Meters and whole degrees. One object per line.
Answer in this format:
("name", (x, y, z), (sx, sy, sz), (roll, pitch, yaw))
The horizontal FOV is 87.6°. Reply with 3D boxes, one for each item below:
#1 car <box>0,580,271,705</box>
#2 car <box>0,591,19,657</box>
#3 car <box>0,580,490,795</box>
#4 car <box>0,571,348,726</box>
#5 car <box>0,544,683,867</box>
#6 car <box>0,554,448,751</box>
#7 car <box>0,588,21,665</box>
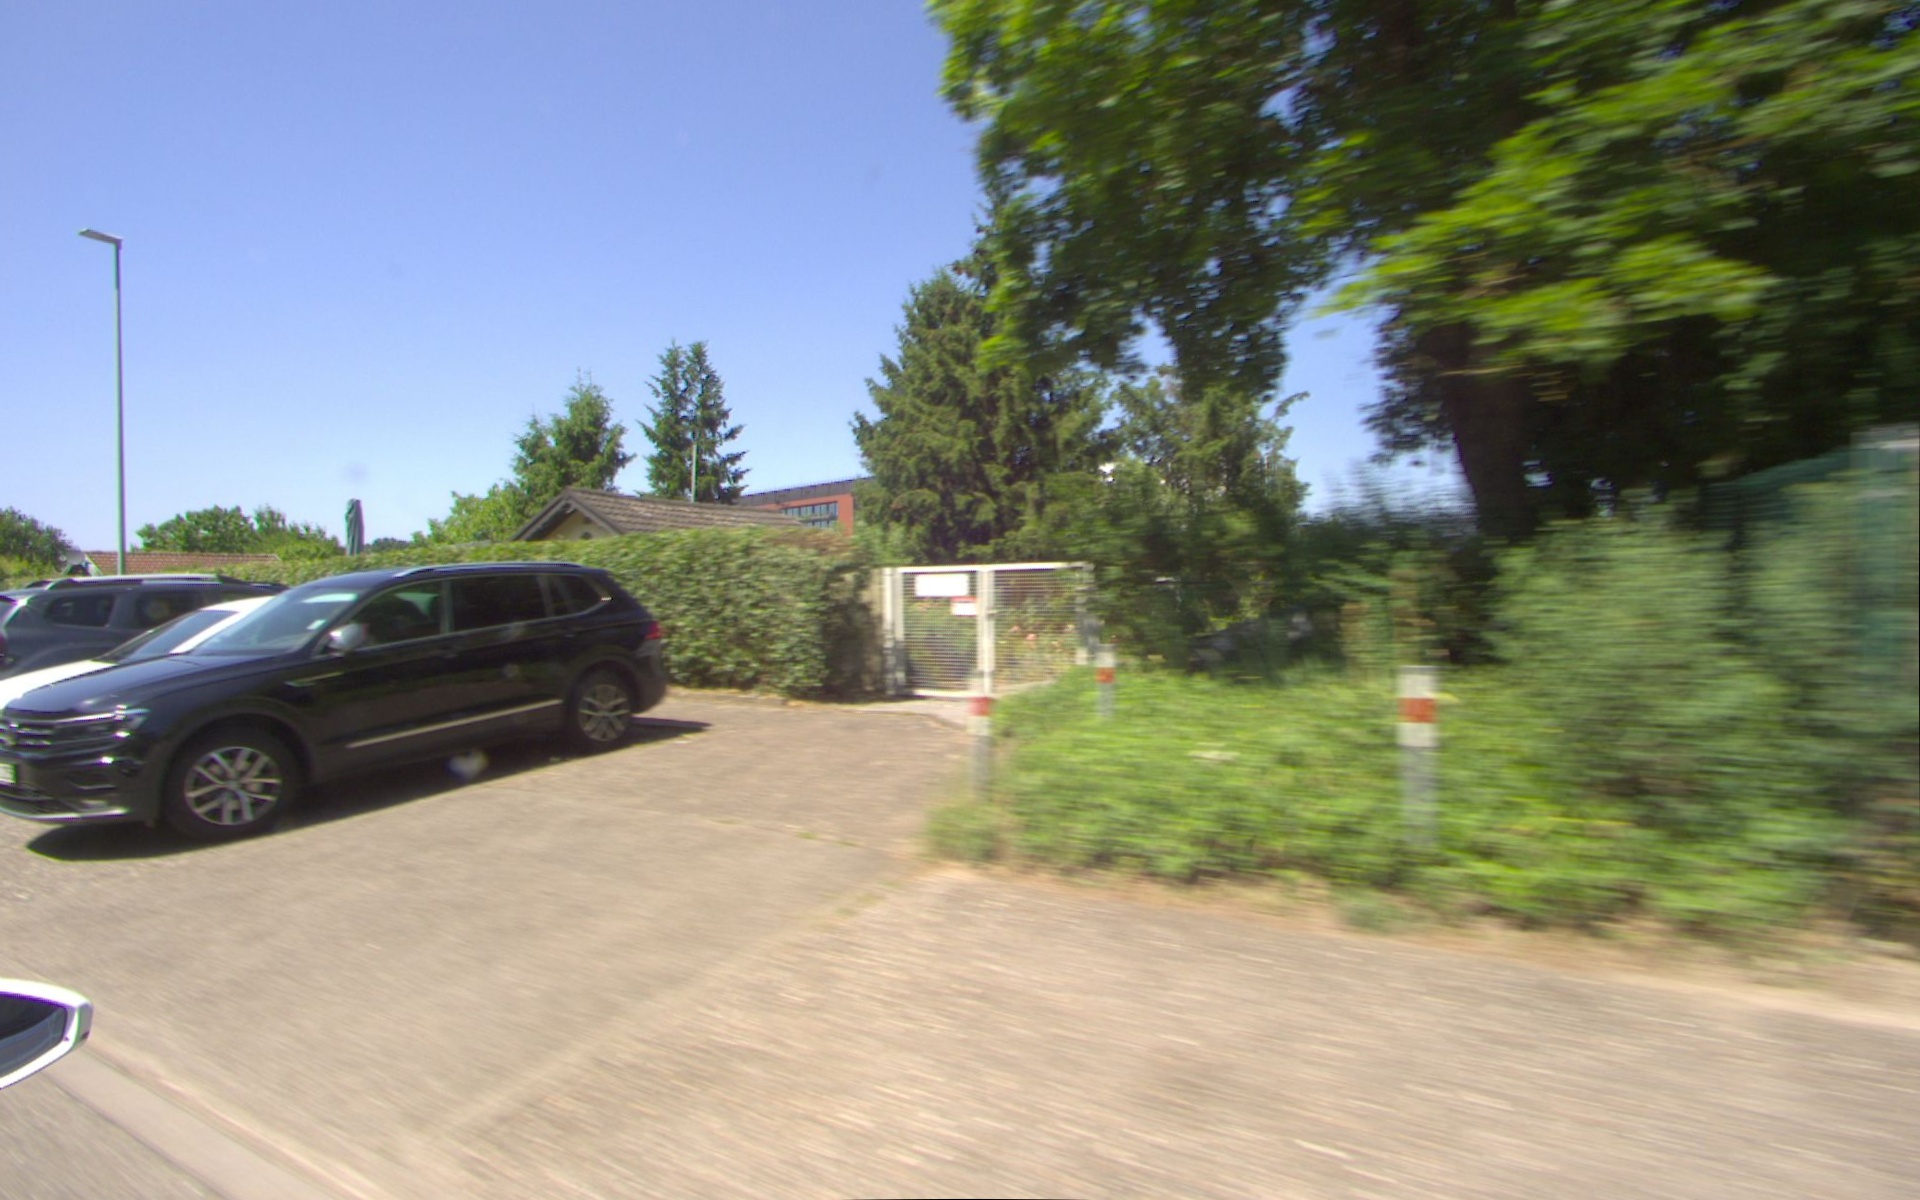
("car", (-12.444, 0.551, 13.683), (1.932, 1.459, 4.548), (0, 3, 30))
("car", (-22.449, 0.619, 20.558), (1.815, 1.408, 4.190), (0, 3, 33))
("car", (-6.743, 0.618, 9.202), (1.807, 1.472, 3.982), (0, 3, 35))
("car", (-10.275, 0.496, 12.571), (1.732, 1.570, 4.039), (0, 3, 31))
("car", (-4.515, 0.468, 7.755), (1.886, 1.728, 4.459), (0, 3, 31))
("car", (-8.334, 0.402, 11.180), (1.828, 1.722, 4.243), (0, 3, 34))
("car", (-20.409, 0.609, 18.643), (1.819, 1.499, 3.906), (0, 3, 34))
